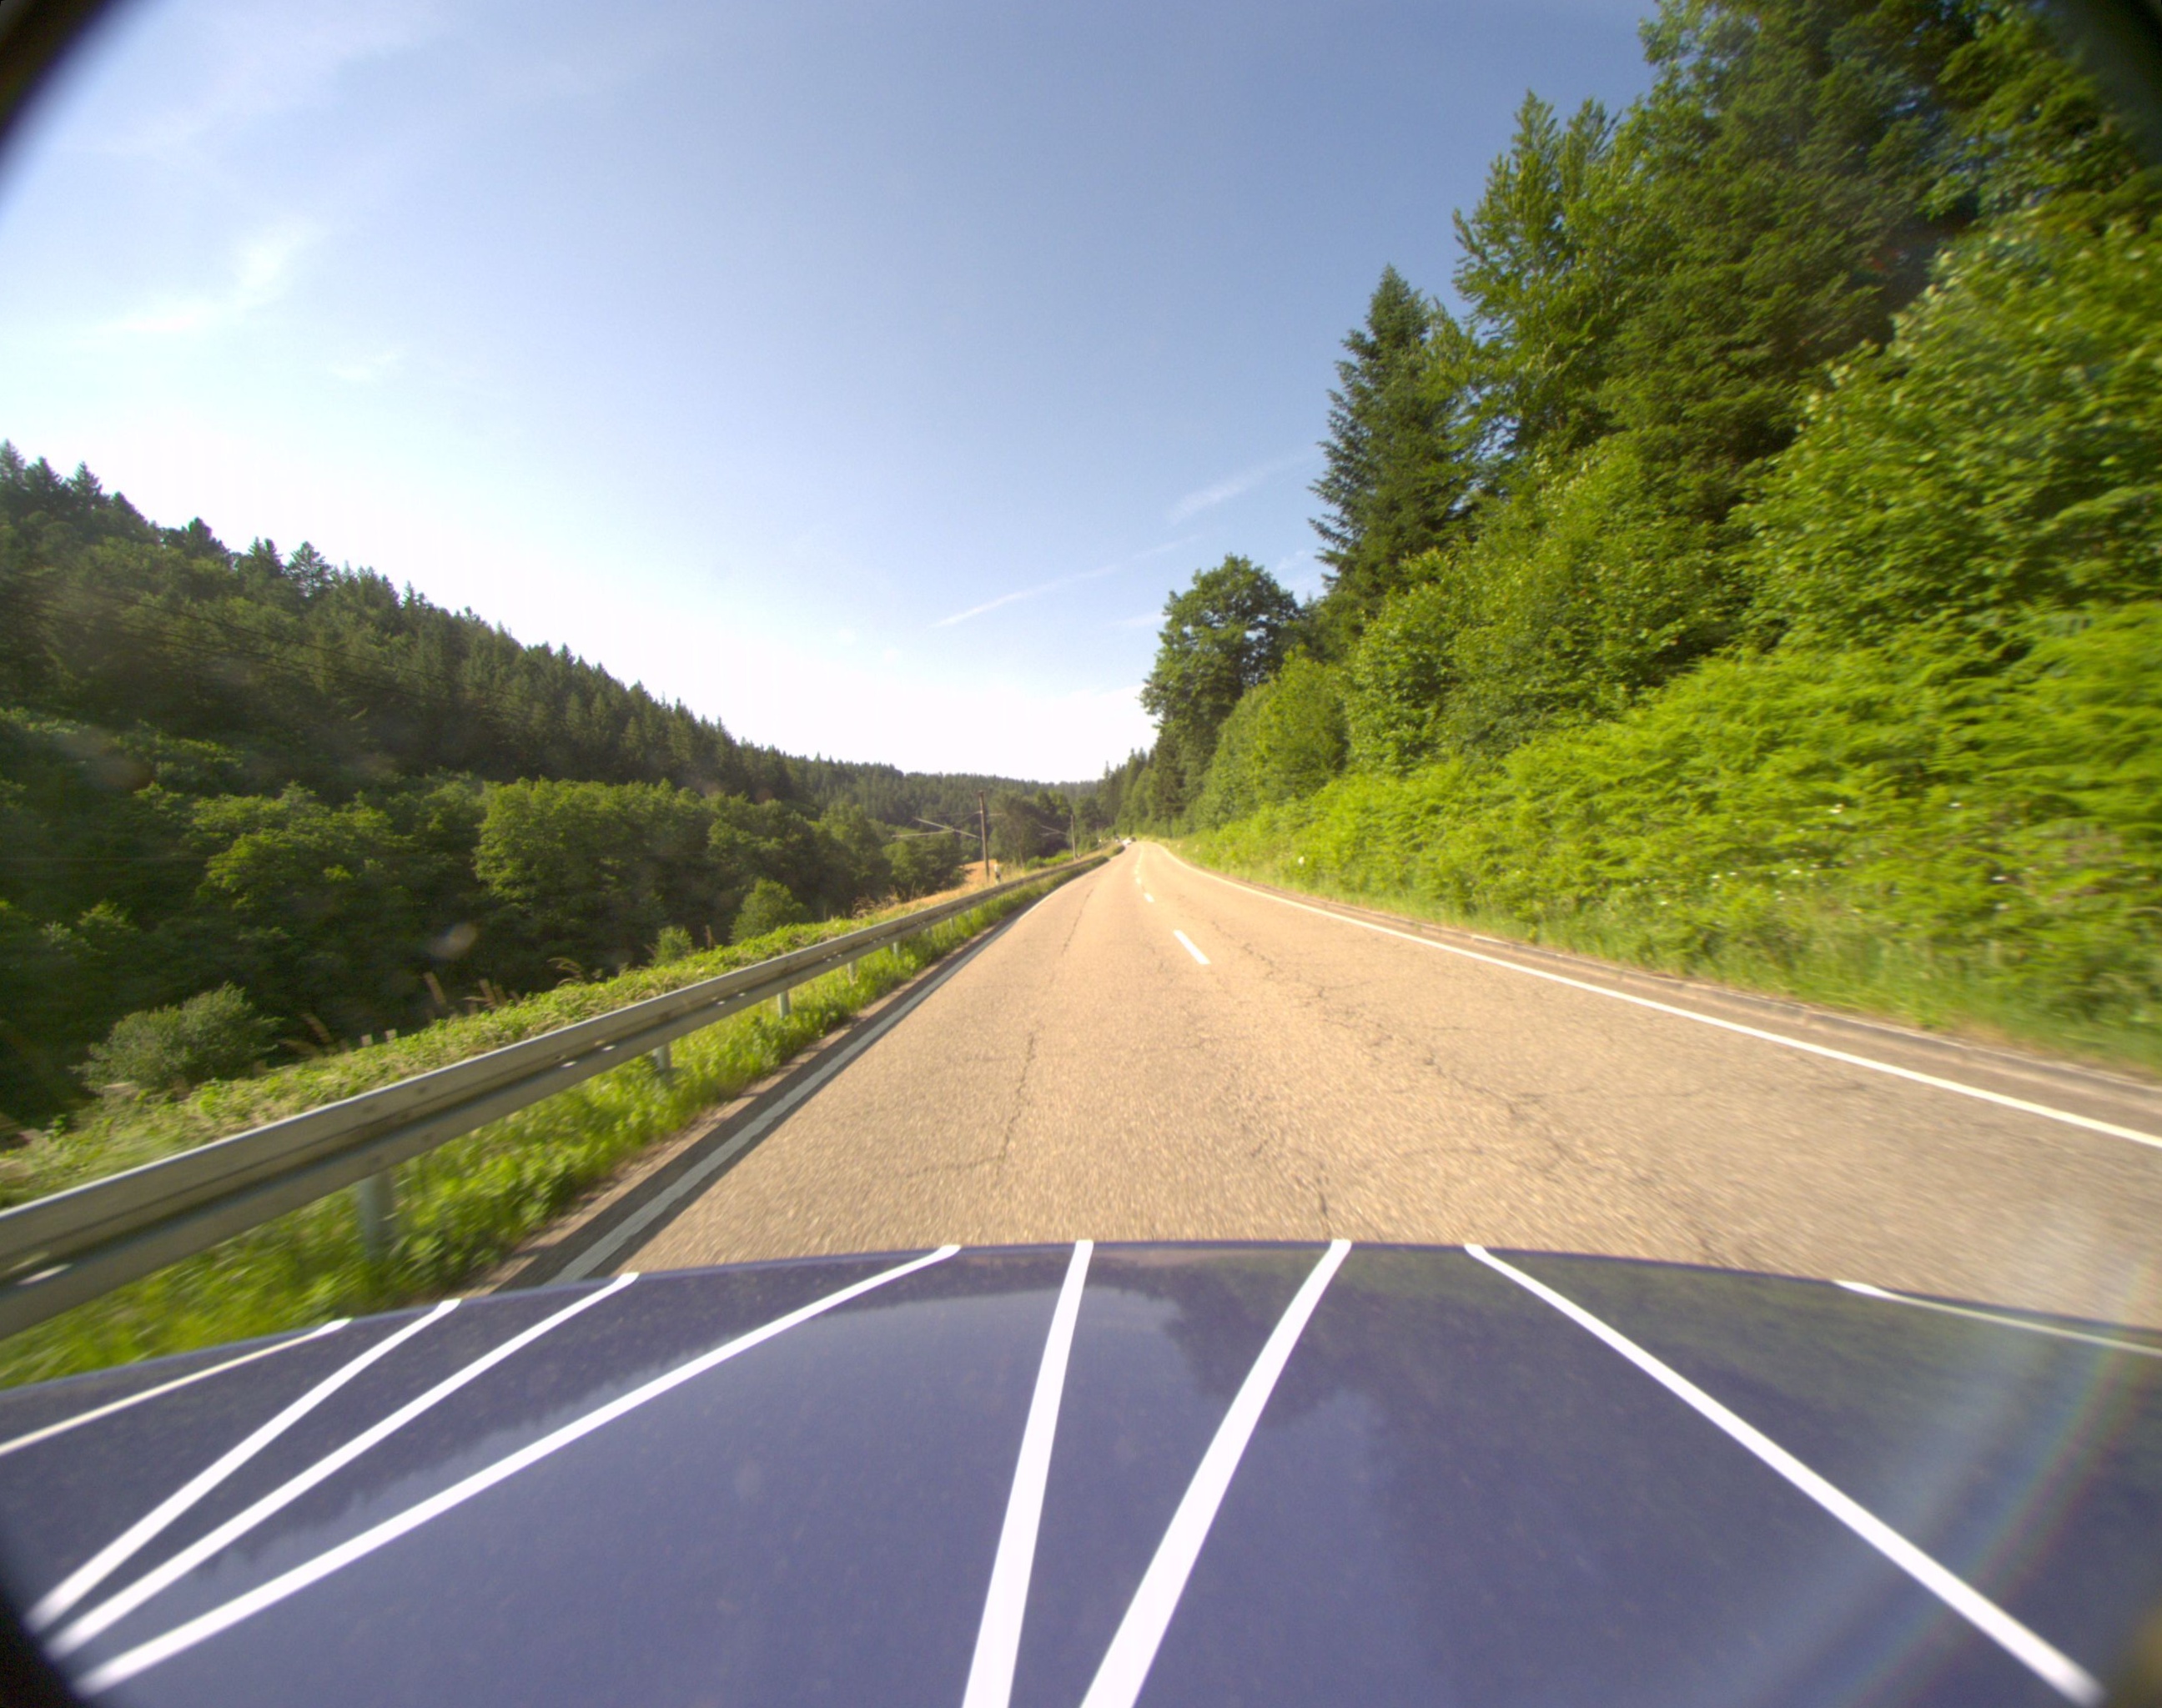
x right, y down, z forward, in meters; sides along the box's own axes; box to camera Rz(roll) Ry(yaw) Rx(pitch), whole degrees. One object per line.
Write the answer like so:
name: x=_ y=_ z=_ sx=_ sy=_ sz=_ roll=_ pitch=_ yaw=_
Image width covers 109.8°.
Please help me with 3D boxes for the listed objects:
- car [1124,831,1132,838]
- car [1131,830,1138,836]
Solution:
car: x=12.666 y=-5.290 z=204.667 sx=1.703 sy=1.543 sz=3.786 roll=-6 pitch=2 yaw=-3
car: x=16.627 y=-6.500 z=236.278 sx=1.840 sy=1.572 sz=4.875 roll=-5 pitch=2 yaw=5
